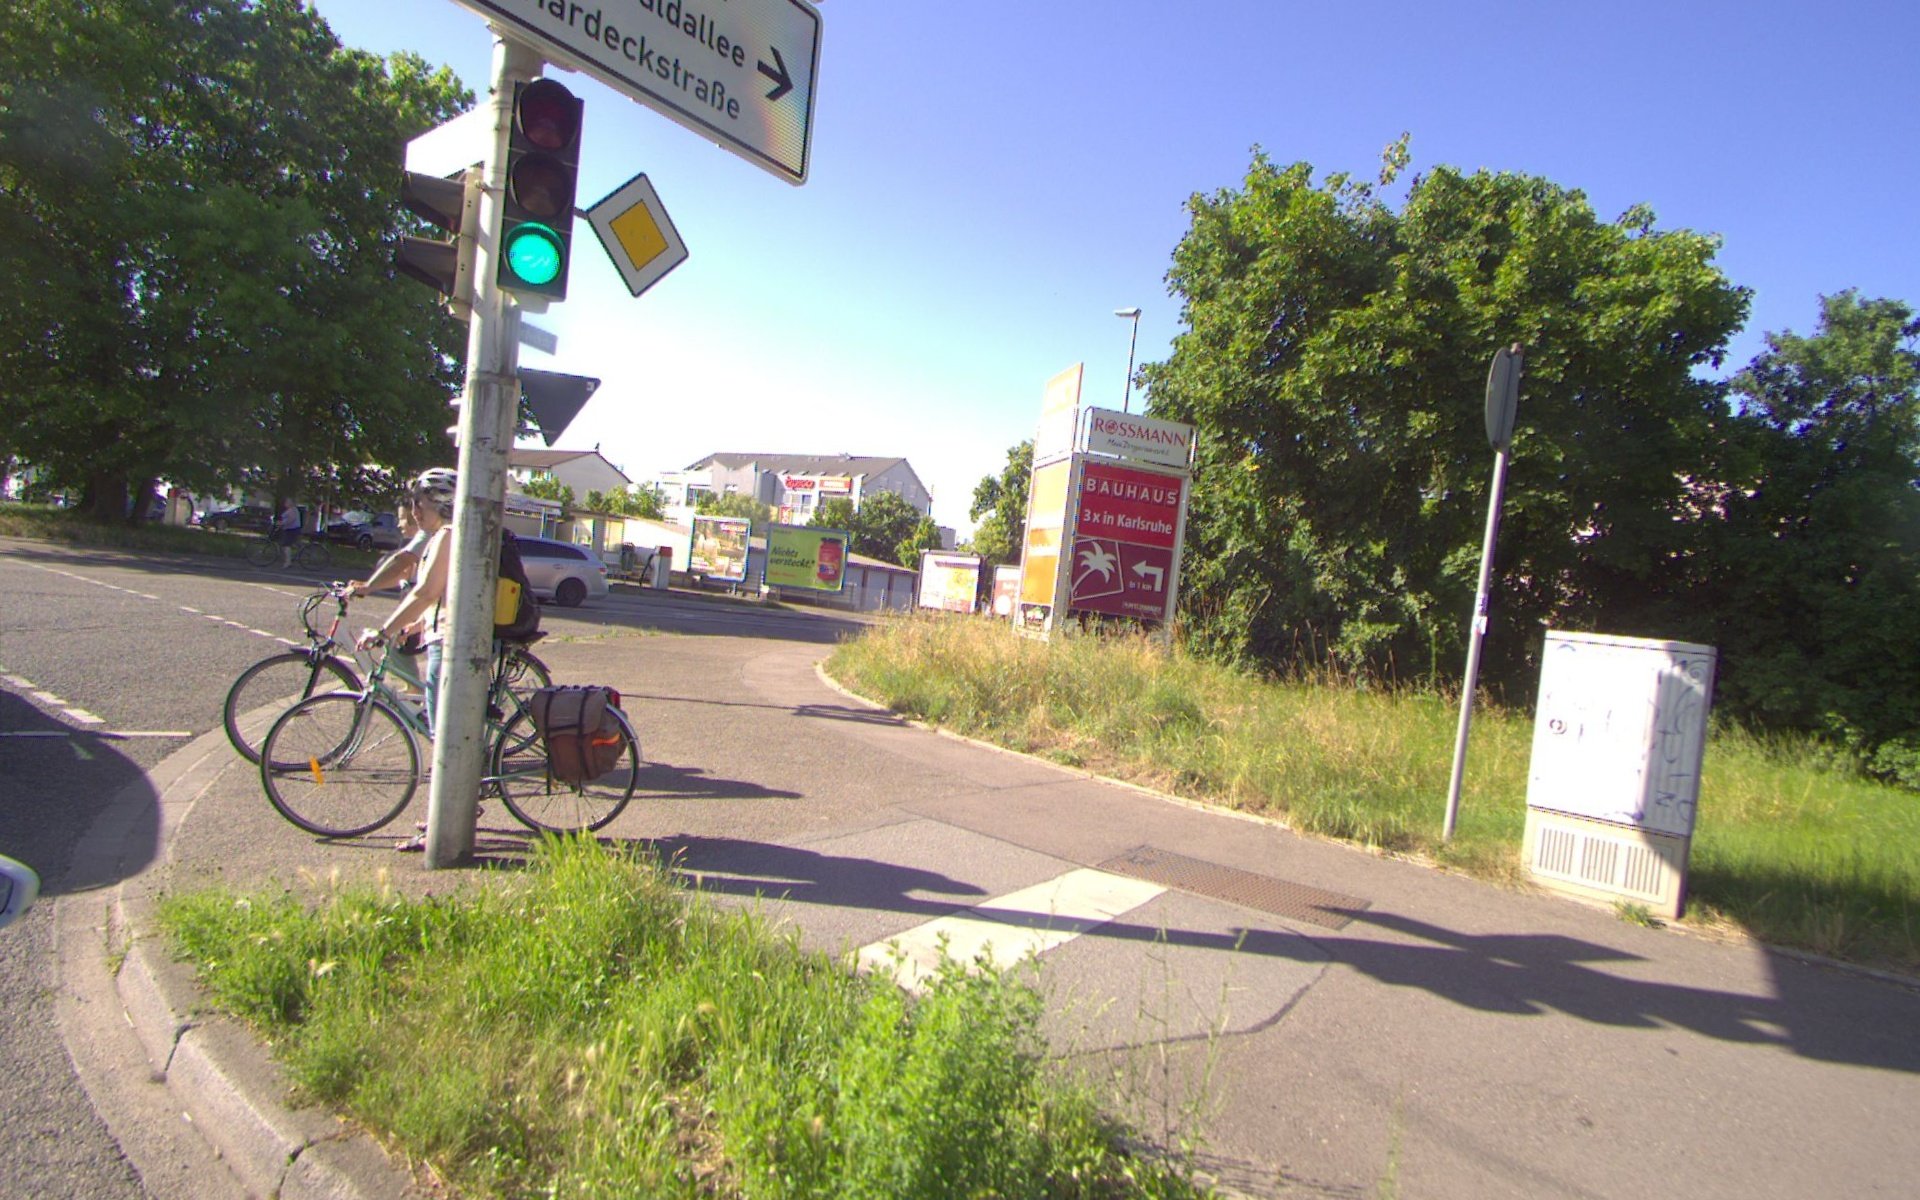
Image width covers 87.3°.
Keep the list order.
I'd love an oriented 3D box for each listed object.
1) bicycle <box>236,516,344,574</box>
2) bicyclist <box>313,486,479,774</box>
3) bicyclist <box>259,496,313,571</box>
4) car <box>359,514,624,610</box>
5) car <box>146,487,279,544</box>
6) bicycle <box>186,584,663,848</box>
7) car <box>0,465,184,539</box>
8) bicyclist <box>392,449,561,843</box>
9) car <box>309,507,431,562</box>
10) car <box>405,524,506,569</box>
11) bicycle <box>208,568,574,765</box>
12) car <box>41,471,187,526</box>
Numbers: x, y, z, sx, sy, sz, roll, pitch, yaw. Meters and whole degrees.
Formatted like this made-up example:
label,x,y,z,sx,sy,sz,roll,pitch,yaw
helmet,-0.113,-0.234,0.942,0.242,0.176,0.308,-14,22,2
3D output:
label,x,y,z,sx,sy,sz,roll,pitch,yaw
bicycle,-16.035,-1.297,24.128,0.521,1.156,2.018,7,1,37
bicyclist,-3.451,0.192,6.203,0.797,1.656,0.540,3,1,-28
bicyclist,-16.087,-1.578,24.023,0.534,1.663,0.826,7,2,37
car,-10.123,-0.768,22.065,1.818,1.507,4.863,6,0,43
car,-30.057,-3.369,40.587,1.504,1.529,4.002,7,-2,21
bicycle,-2.380,0.527,4.694,1.841,1.090,0.529,3,1,-19
car,-37.660,-4.190,43.817,1.966,2.123,5.648,7,-2,30
bicyclist,-2.241,0.217,4.720,0.576,1.718,0.525,3,1,-19
car,-21.891,-2.376,37.521,1.726,1.392,4.005,7,-2,8
car,-25.537,-2.684,51.041,1.966,1.625,3.996,7,-2,30
bicycle,-3.434,0.435,6.236,1.846,1.090,0.528,5,0,-27
car,-33.659,-4.008,40.154,1.766,1.350,4.003,7,-2,20
